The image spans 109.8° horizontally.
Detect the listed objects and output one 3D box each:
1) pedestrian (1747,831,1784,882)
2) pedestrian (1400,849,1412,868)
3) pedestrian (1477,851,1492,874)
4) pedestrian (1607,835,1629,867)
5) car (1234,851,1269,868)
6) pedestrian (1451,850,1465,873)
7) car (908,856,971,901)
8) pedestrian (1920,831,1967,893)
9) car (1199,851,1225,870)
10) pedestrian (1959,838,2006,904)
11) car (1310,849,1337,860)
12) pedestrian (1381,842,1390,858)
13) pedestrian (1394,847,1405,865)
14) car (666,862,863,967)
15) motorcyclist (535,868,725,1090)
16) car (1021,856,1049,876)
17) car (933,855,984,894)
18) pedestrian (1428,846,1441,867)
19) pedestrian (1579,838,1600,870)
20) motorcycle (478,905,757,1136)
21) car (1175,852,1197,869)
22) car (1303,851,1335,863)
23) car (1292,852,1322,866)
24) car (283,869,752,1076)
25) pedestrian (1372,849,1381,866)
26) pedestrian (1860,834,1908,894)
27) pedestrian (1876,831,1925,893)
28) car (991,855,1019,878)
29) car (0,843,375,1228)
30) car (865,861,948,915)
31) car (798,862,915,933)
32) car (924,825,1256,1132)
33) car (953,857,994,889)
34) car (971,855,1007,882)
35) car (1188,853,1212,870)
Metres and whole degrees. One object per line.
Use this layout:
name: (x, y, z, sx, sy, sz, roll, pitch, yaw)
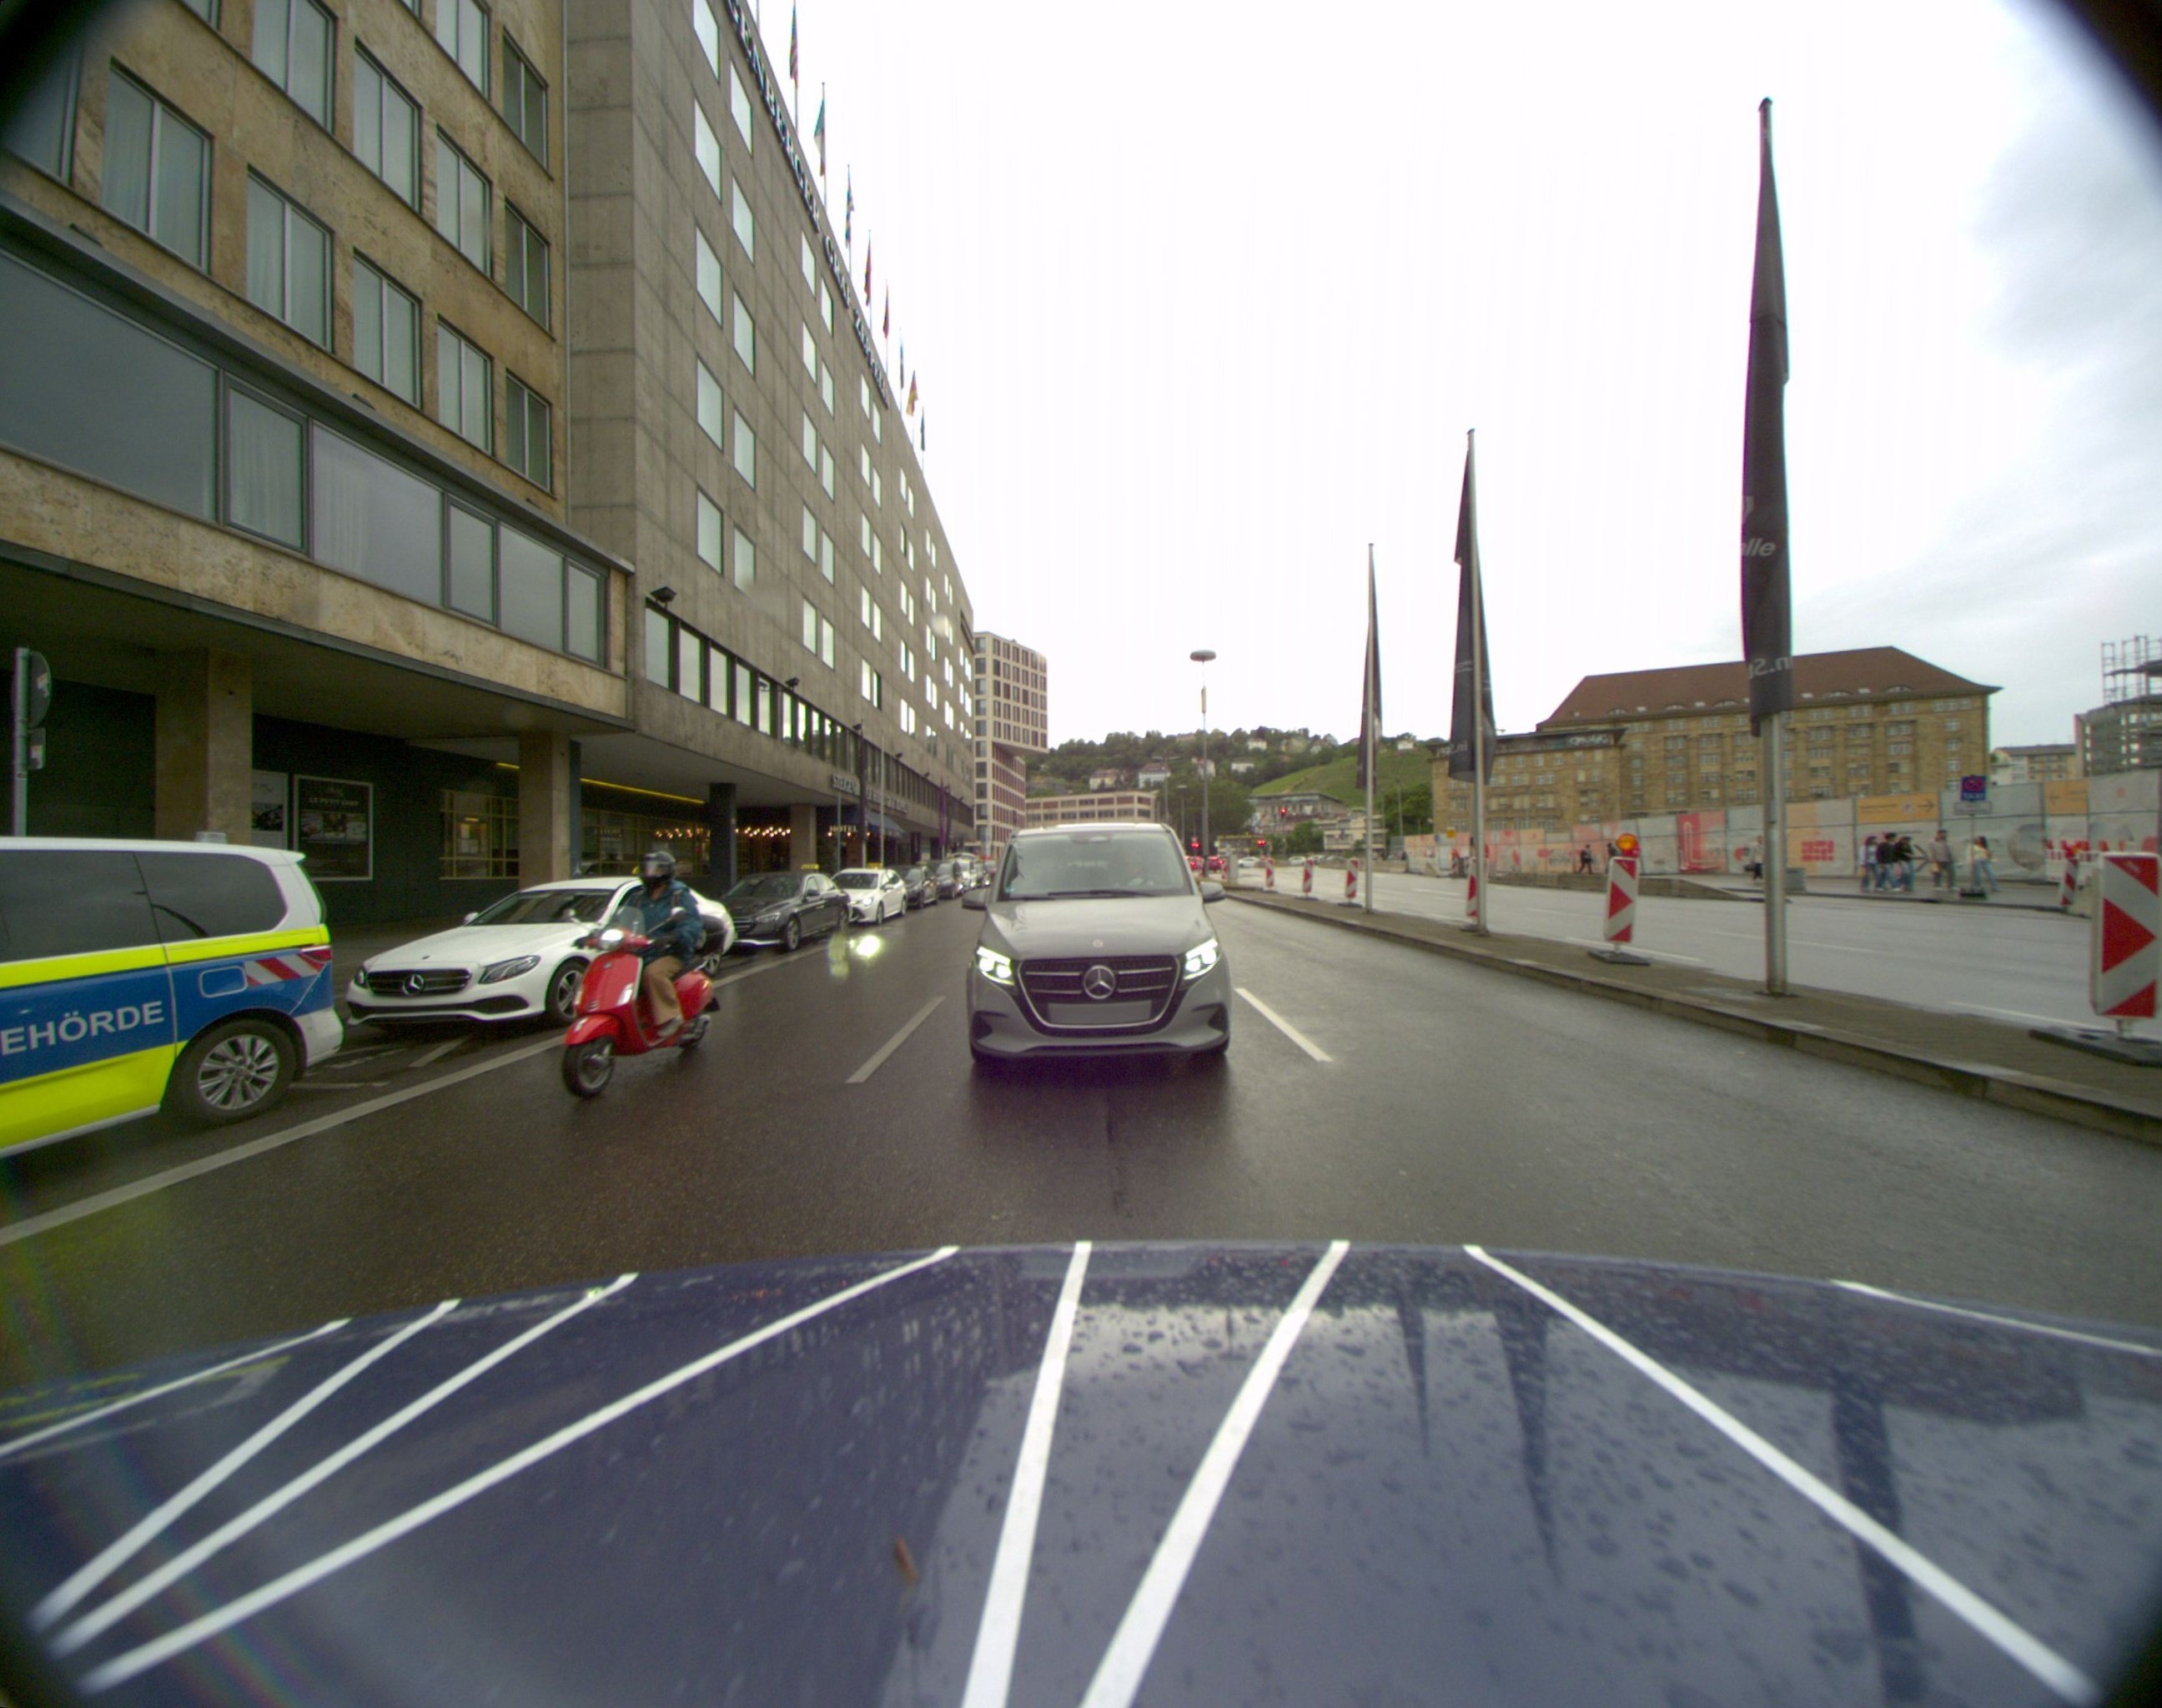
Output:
pedestrian: (25.293, 0.101, 28.073, 0.664, 1.825, 0.720, -2, 1, 1)
pedestrian: (28.241, 0.360, 66.030, 0.715, 1.606, 0.544, -2, 1, 1)
pedestrian: (28.141, 0.589, 53.012, 0.715, 1.606, 0.544, -2, 1, 1)
pedestrian: (28.137, -0.151, 39.799, 0.715, 1.606, 0.544, -2, 1, 1)
car: (22.454, 0.730, 99.985, 3.989, 2.002, 2.004, -2, 1, 43)
pedestrian: (27.783, 0.551, 55.934, 0.715, 1.606, 0.544, -2, 1, 1)
car: (-6.050, 0.991, 33.054, 1.731, 1.732, 4.814, -2, 1, 0)
pedestrian: (24.950, 0.233, 21.990, 0.714, 1.734, 0.564, -2, 1, 21)
car: (12.461, 0.586, 72.407, 1.785, 1.684, 3.916, -1, 0, 0)
pedestrian: (25.643, 0.474, 21.615, 0.661, 1.825, 0.556, -2, 1, 21)
car: (38.816, 0.067, 121.886, 3.993, 1.622, 2.002, -1, 0, 14)
pedestrian: (30.628, -0.379, 76.398, 0.715, 1.606, 0.544, -2, 1, 5)
pedestrian: (29.719, 0.184, 70.908, 0.715, 1.606, 0.544, -2, 1, 1)
car: (-6.073, 1.050, 15.340, 1.879, 1.628, 4.814, -2, 1, 0)
motorcyclist: (-3.376, 0.890, 5.780, 0.861, 1.519, 0.844, -2, 1, 1)
car: (-3.941, 0.968, 65.552, 2.089, 1.540, 4.587, -2, 1, 0)
car: (-6.088, 0.949, 38.250, 1.731, 1.732, 4.814, -2, 1, 0)
pedestrian: (27.620, 0.223, 59.415, 0.715, 1.606, 0.544, -2, 1, 1)
pedestrian: (26.126, -0.011, 39.039, 0.715, 1.606, 0.544, -2, 1, 1)
motorcycle: (-3.362, 1.126, 5.809, 0.848, 1.299, 1.965, -2, 1, 1)
car: (11.840, 0.716, 85.848, 1.785, 1.684, 3.916, -2, 1, -1)
car: (32.362, 0.405, 103.321, 3.993, 1.622, 2.002, -1, 0, 14)
car: (34.954, 0.773, 117.592, 4.194, 1.846, 1.832, -2, 1, 6)
car: (-6.090, 1.102, 9.256, 1.879, 1.628, 5.010, -2, 1, 0)
pedestrian: (29.816, 0.353, 76.629, 0.715, 1.606, 0.544, -2, 1, 5)
pedestrian: (23.633, 0.282, 22.376, 0.714, 1.723, 0.718, -2, 1, 19)
pedestrian: (24.547, 0.239, 22.767, 0.714, 1.825, 0.718, -2, 1, 19)
car: (-5.902, 0.950, 59.257, 1.731, 1.604, 4.001, -2, 1, 0)
car: (-6.321, 0.939, 3.254, 1.879, 1.909, 4.935, -2, 1, 0)
car: (-6.042, 1.117, 26.882, 1.731, 1.583, 4.814, -2, 1, 0)
car: (-6.040, 1.089, 21.068, 1.731, 1.583, 4.814, -2, 1, 0)
car: (0.094, 0.759, 7.313, 1.998, 1.849, 5.160, -2, 1, 1)
car: (-6.123, 1.056, 43.758, 1.731, 1.604, 4.001, -2, 1, 0)
car: (-5.870, 0.903, 48.937, 1.731, 1.604, 4.001, -2, 1, 0)
car: (12.246, 0.762, 78.308, 1.785, 1.684, 3.916, -2, 1, -1)
